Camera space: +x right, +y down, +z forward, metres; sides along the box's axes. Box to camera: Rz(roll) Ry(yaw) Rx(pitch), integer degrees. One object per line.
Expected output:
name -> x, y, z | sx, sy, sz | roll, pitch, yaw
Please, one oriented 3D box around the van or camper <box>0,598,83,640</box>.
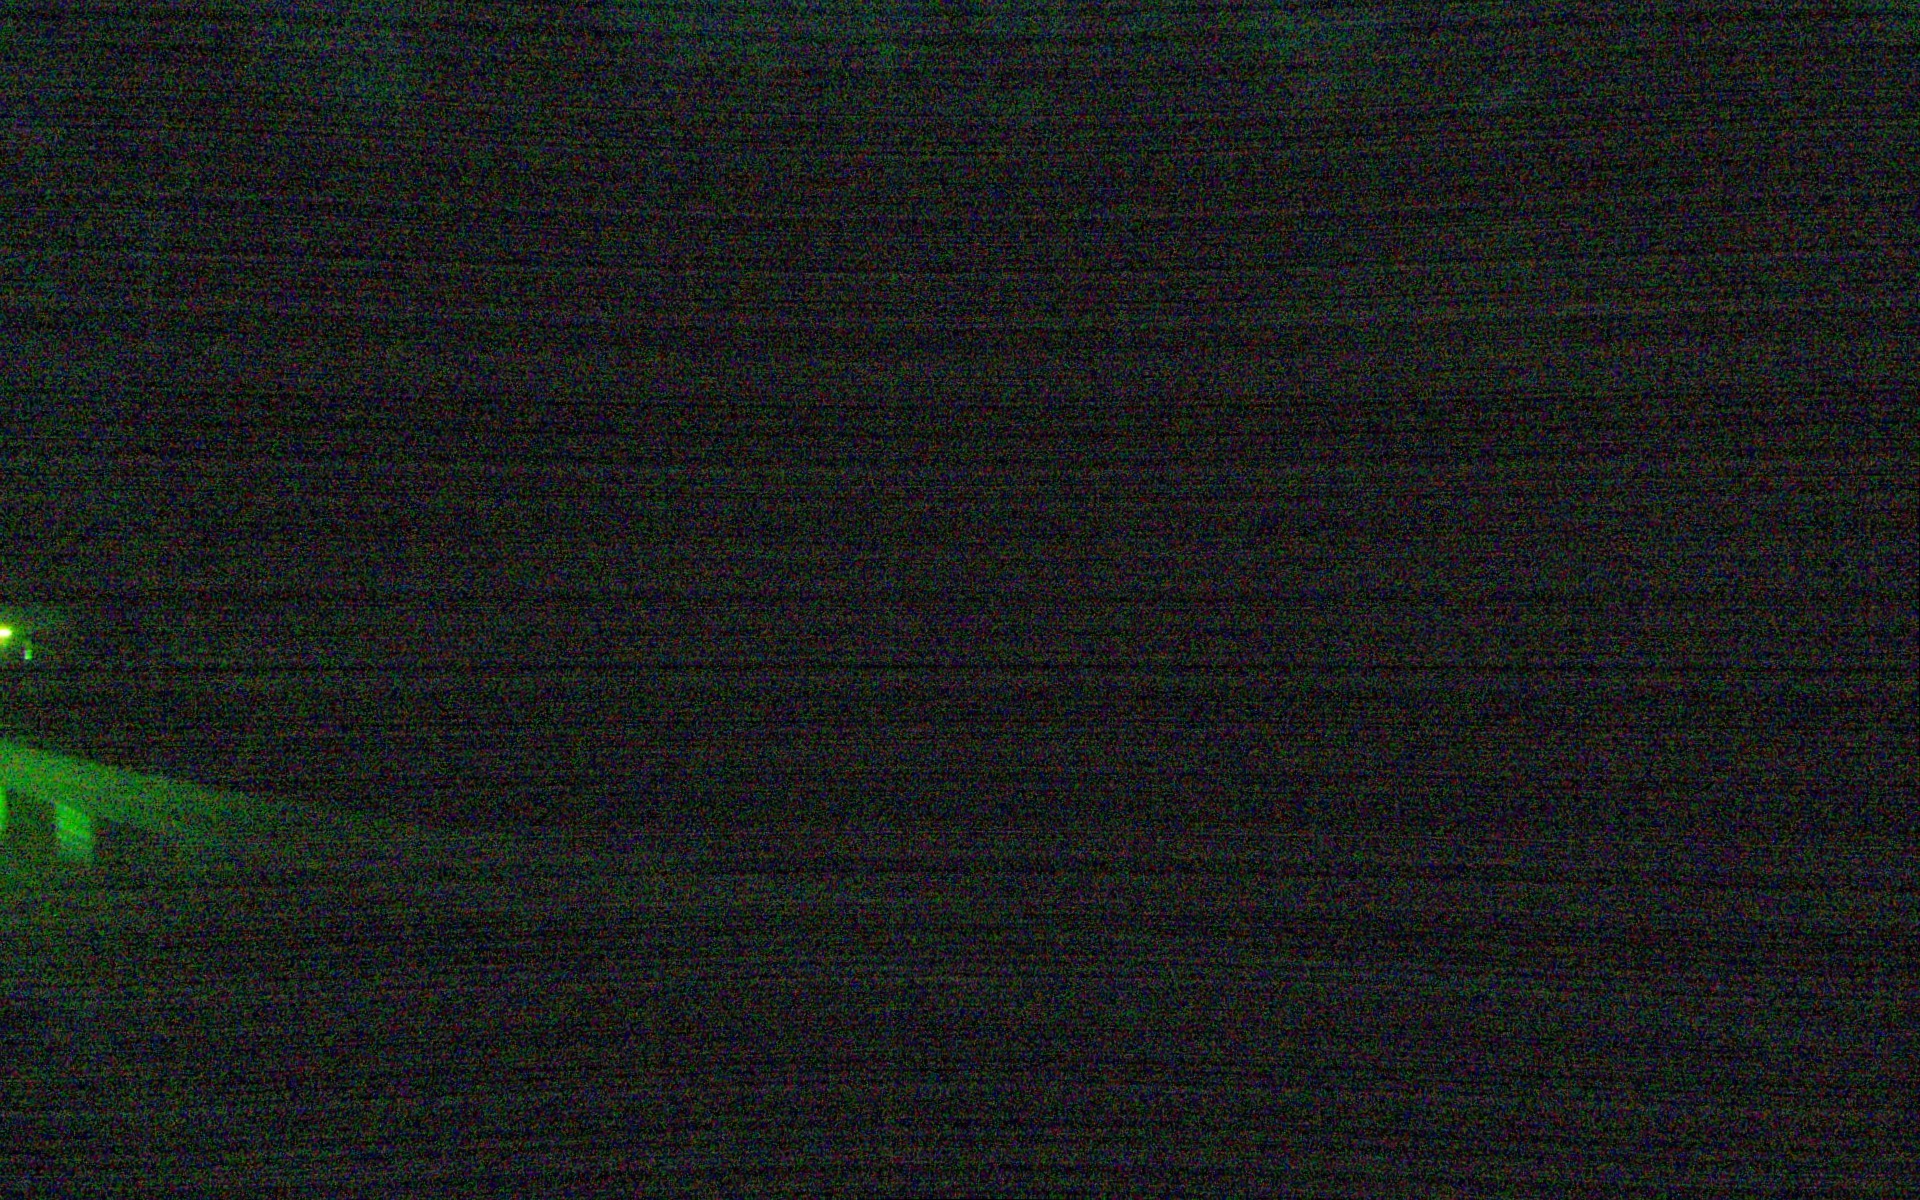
van or camper -> -60.362, 1.266, 64.792 | 1.963, 2.582, 7.180 | 1, -2, -11
